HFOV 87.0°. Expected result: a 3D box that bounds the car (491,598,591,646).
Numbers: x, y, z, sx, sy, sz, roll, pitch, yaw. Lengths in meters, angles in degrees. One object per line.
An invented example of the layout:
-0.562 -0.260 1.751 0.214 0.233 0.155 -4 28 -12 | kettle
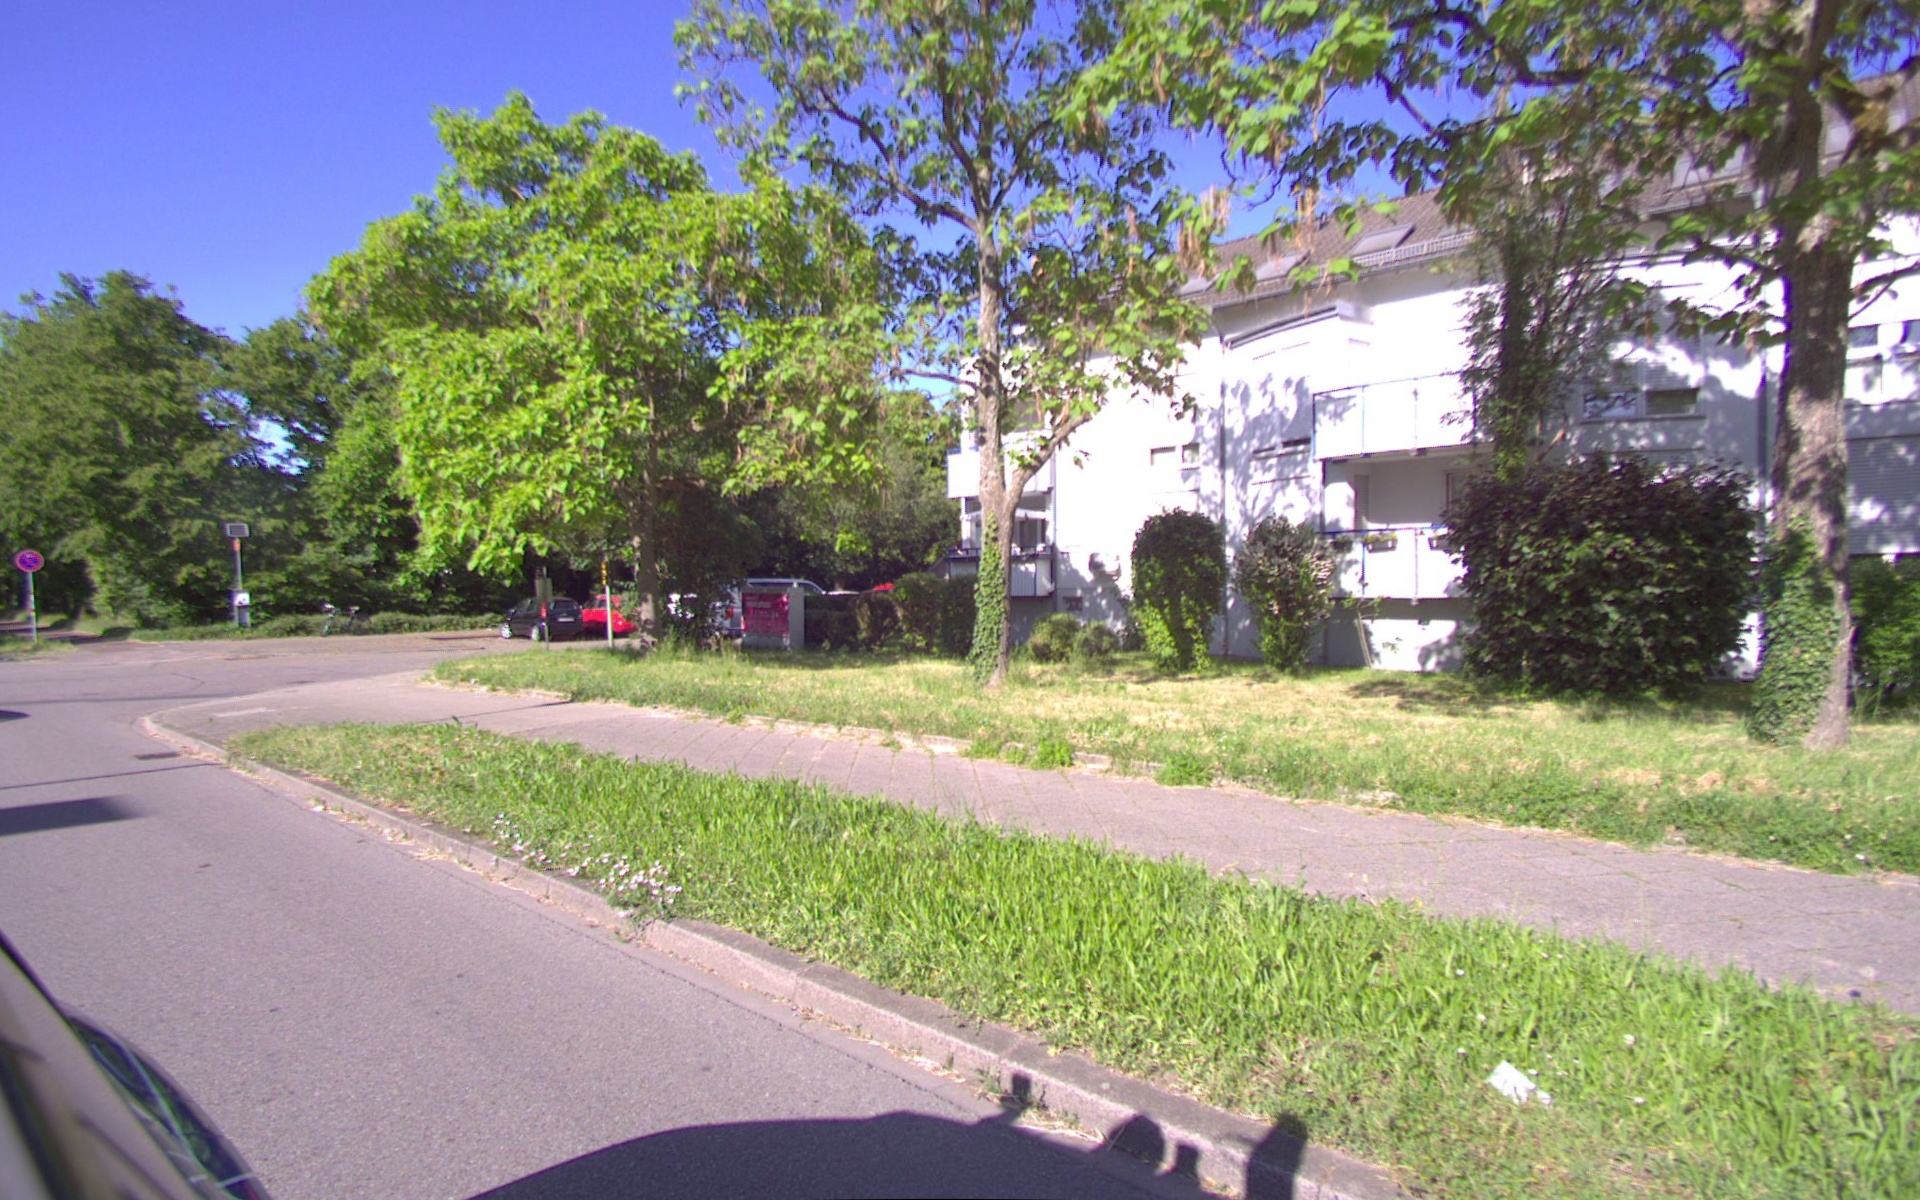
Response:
-14.399 0.708 34.717 3.884 1.498 1.652 1 2 42 | car

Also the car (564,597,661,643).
-12.617 0.693 36.672 3.884 1.498 1.652 1 2 42 | car

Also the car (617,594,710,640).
-11.455 0.596 38.937 3.884 1.615 1.652 1 2 42 | car

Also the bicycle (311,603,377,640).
-21.017 0.733 34.543 1.875 1.160 0.762 -1 4 -38 | bicycle

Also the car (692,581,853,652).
-5.649 0.471 30.783 4.400 1.984 2.070 -1 -1 -45 | car
